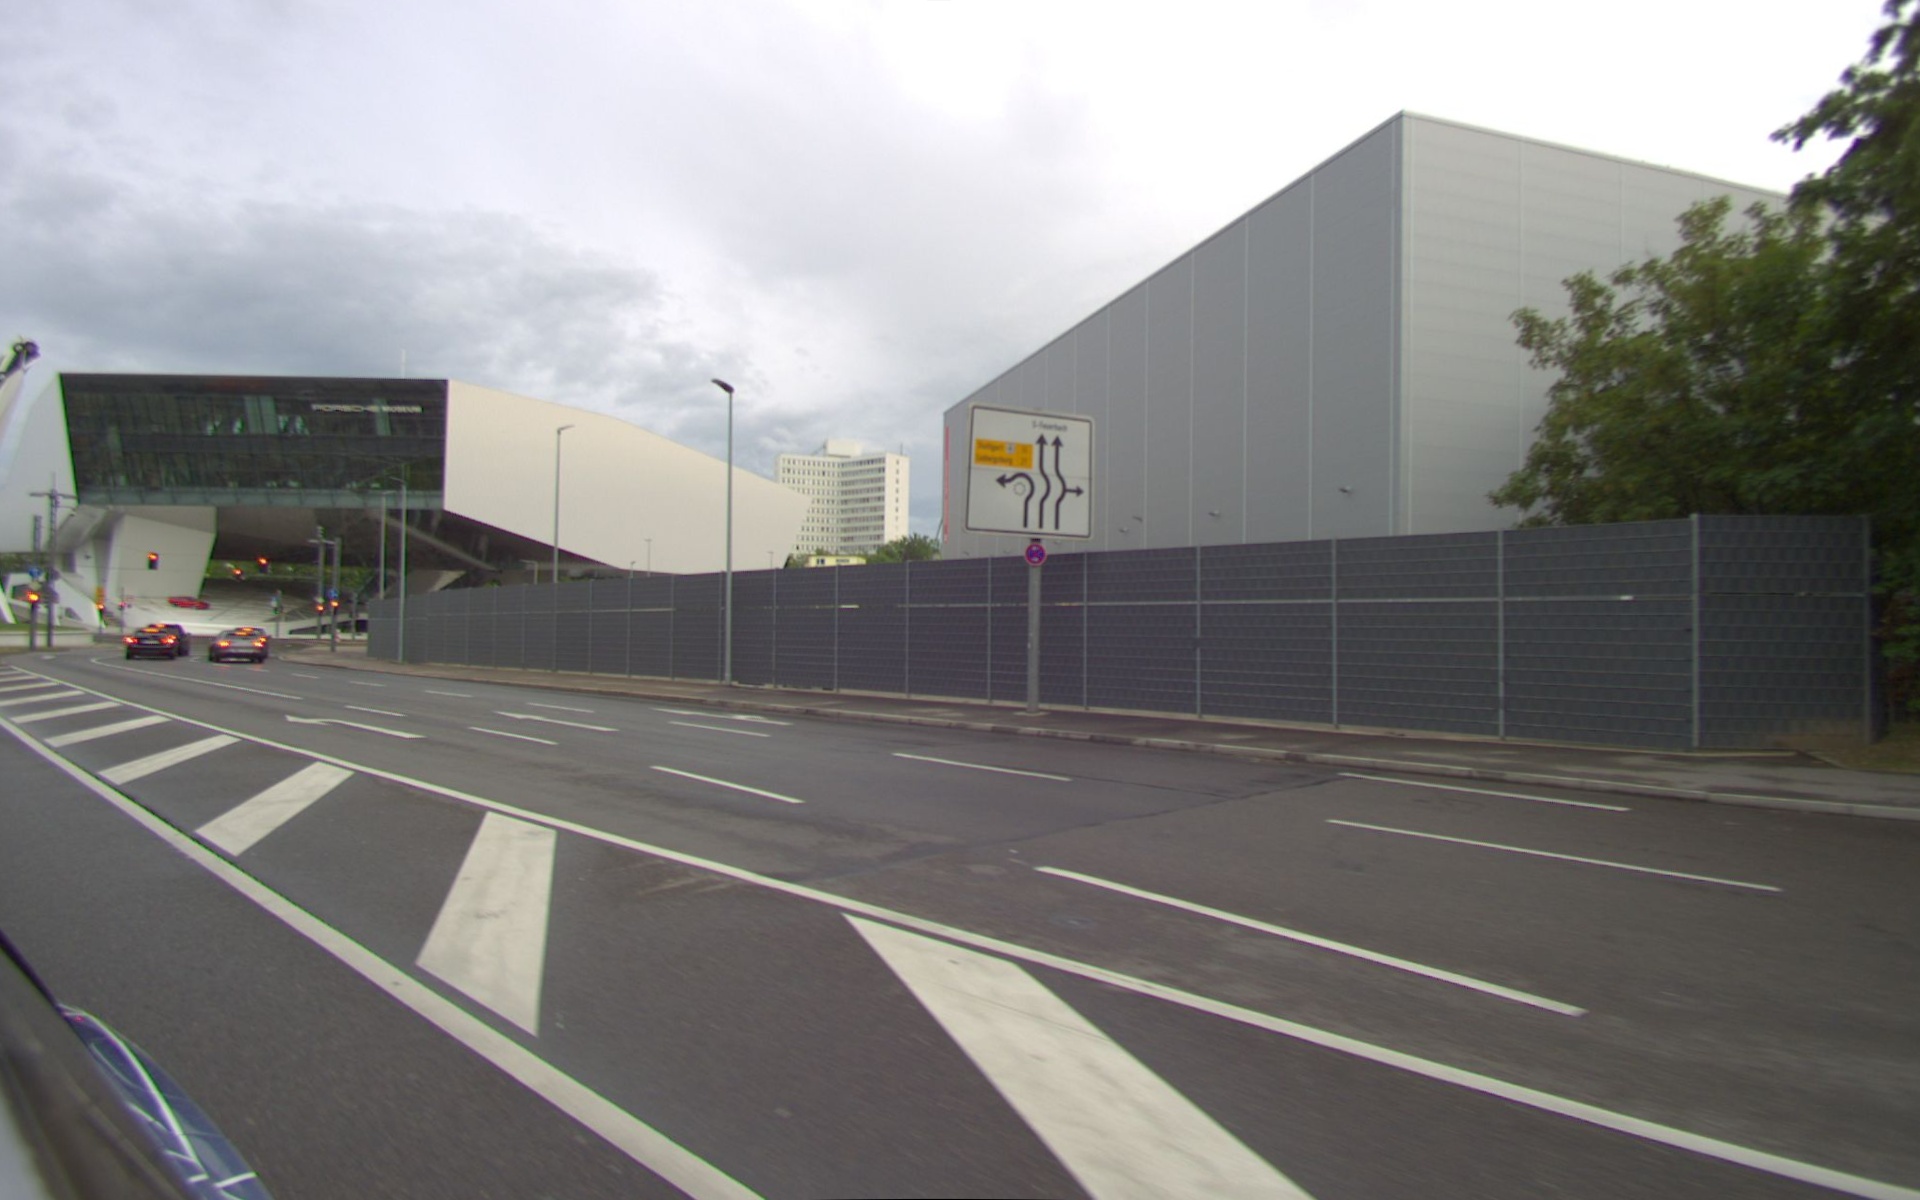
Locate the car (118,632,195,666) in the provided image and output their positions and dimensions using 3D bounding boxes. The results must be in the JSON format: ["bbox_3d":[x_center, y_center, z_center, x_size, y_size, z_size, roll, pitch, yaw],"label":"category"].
[{"bbox_3d":[-36.959,2.223,46.648,2.221,1.488,3.891,2,-3,-31],"label":"car"}]

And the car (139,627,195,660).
[{"bbox_3d":[-41.243,2.266,52.697,1.850,1.663,3.863,2,-3,-32],"label":"car"}]

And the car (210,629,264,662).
[{"bbox_3d":[-37.927,2.369,53.154,1.833,1.663,3.799,2,-3,-29],"label":"car"}]

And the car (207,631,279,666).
[{"bbox_3d":[-31.912,2.126,45.148,2.233,1.488,4.059,2,-3,-31],"label":"car"}]
